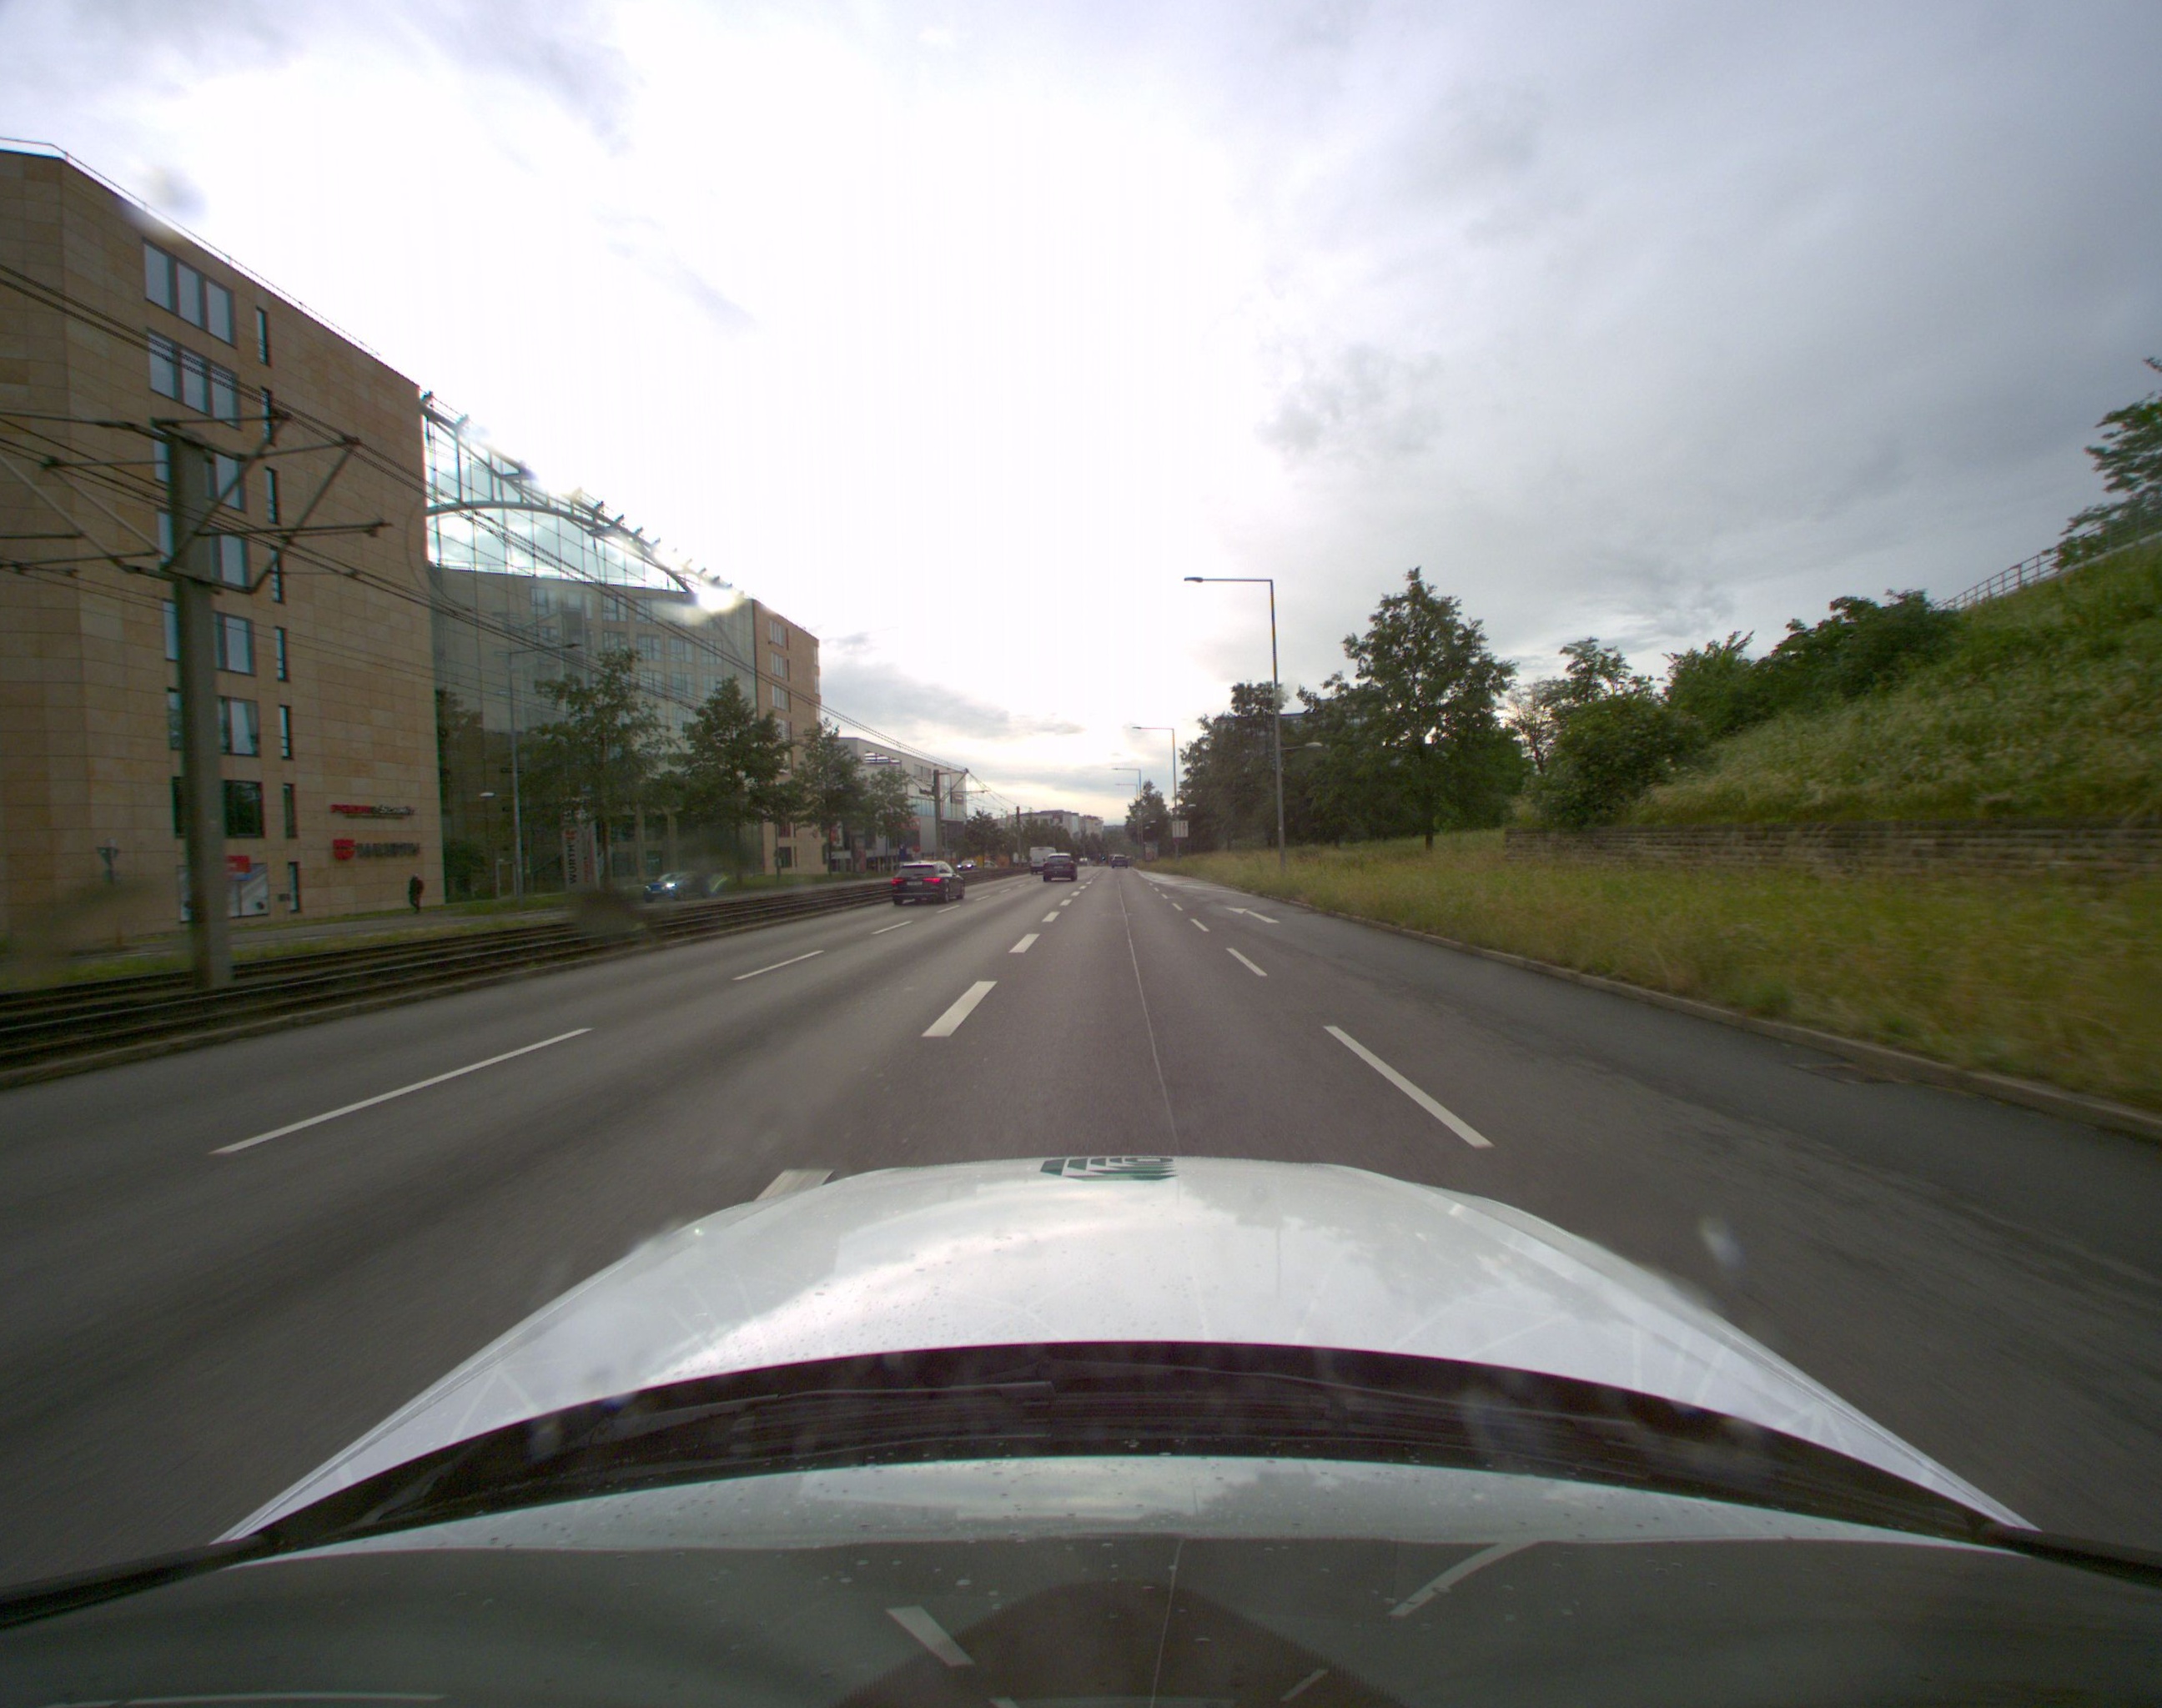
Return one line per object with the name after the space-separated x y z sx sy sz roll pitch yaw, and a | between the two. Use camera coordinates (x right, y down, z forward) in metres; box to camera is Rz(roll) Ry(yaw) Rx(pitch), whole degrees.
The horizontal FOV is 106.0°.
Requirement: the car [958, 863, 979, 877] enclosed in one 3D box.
-14.878 2.096 107.625 1.833 1.486 4.657 -5 0 3 | car

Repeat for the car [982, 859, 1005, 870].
-20.067 2.435 187.012 5.289 2.313 2.018 0 -2 -2 | car

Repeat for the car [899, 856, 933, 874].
-13.954 0.946 69.146 1.764 1.502 4.204 -1 -2 4 | car

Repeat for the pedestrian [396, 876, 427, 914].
-29.182 1.792 35.500 0.640 1.632 0.831 0 -2 -1 | pedestrian

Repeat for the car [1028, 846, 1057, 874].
-3.240 0.489 69.507 2.261 2.285 4.758 0 0 -1 | car

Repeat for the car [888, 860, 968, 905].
-5.215 0.930 28.417 1.779 1.414 4.806 -1 0 1 | car

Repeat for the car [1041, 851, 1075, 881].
-1.363 0.692 48.572 1.917 1.710 4.096 0 0 -1 | car

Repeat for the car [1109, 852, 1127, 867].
4.154 0.623 91.875 1.784 1.591 3.998 -2 -1 -1 | car

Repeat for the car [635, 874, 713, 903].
-21.032 1.769 42.239 1.833 1.454 4.026 -1 -2 3 | car
